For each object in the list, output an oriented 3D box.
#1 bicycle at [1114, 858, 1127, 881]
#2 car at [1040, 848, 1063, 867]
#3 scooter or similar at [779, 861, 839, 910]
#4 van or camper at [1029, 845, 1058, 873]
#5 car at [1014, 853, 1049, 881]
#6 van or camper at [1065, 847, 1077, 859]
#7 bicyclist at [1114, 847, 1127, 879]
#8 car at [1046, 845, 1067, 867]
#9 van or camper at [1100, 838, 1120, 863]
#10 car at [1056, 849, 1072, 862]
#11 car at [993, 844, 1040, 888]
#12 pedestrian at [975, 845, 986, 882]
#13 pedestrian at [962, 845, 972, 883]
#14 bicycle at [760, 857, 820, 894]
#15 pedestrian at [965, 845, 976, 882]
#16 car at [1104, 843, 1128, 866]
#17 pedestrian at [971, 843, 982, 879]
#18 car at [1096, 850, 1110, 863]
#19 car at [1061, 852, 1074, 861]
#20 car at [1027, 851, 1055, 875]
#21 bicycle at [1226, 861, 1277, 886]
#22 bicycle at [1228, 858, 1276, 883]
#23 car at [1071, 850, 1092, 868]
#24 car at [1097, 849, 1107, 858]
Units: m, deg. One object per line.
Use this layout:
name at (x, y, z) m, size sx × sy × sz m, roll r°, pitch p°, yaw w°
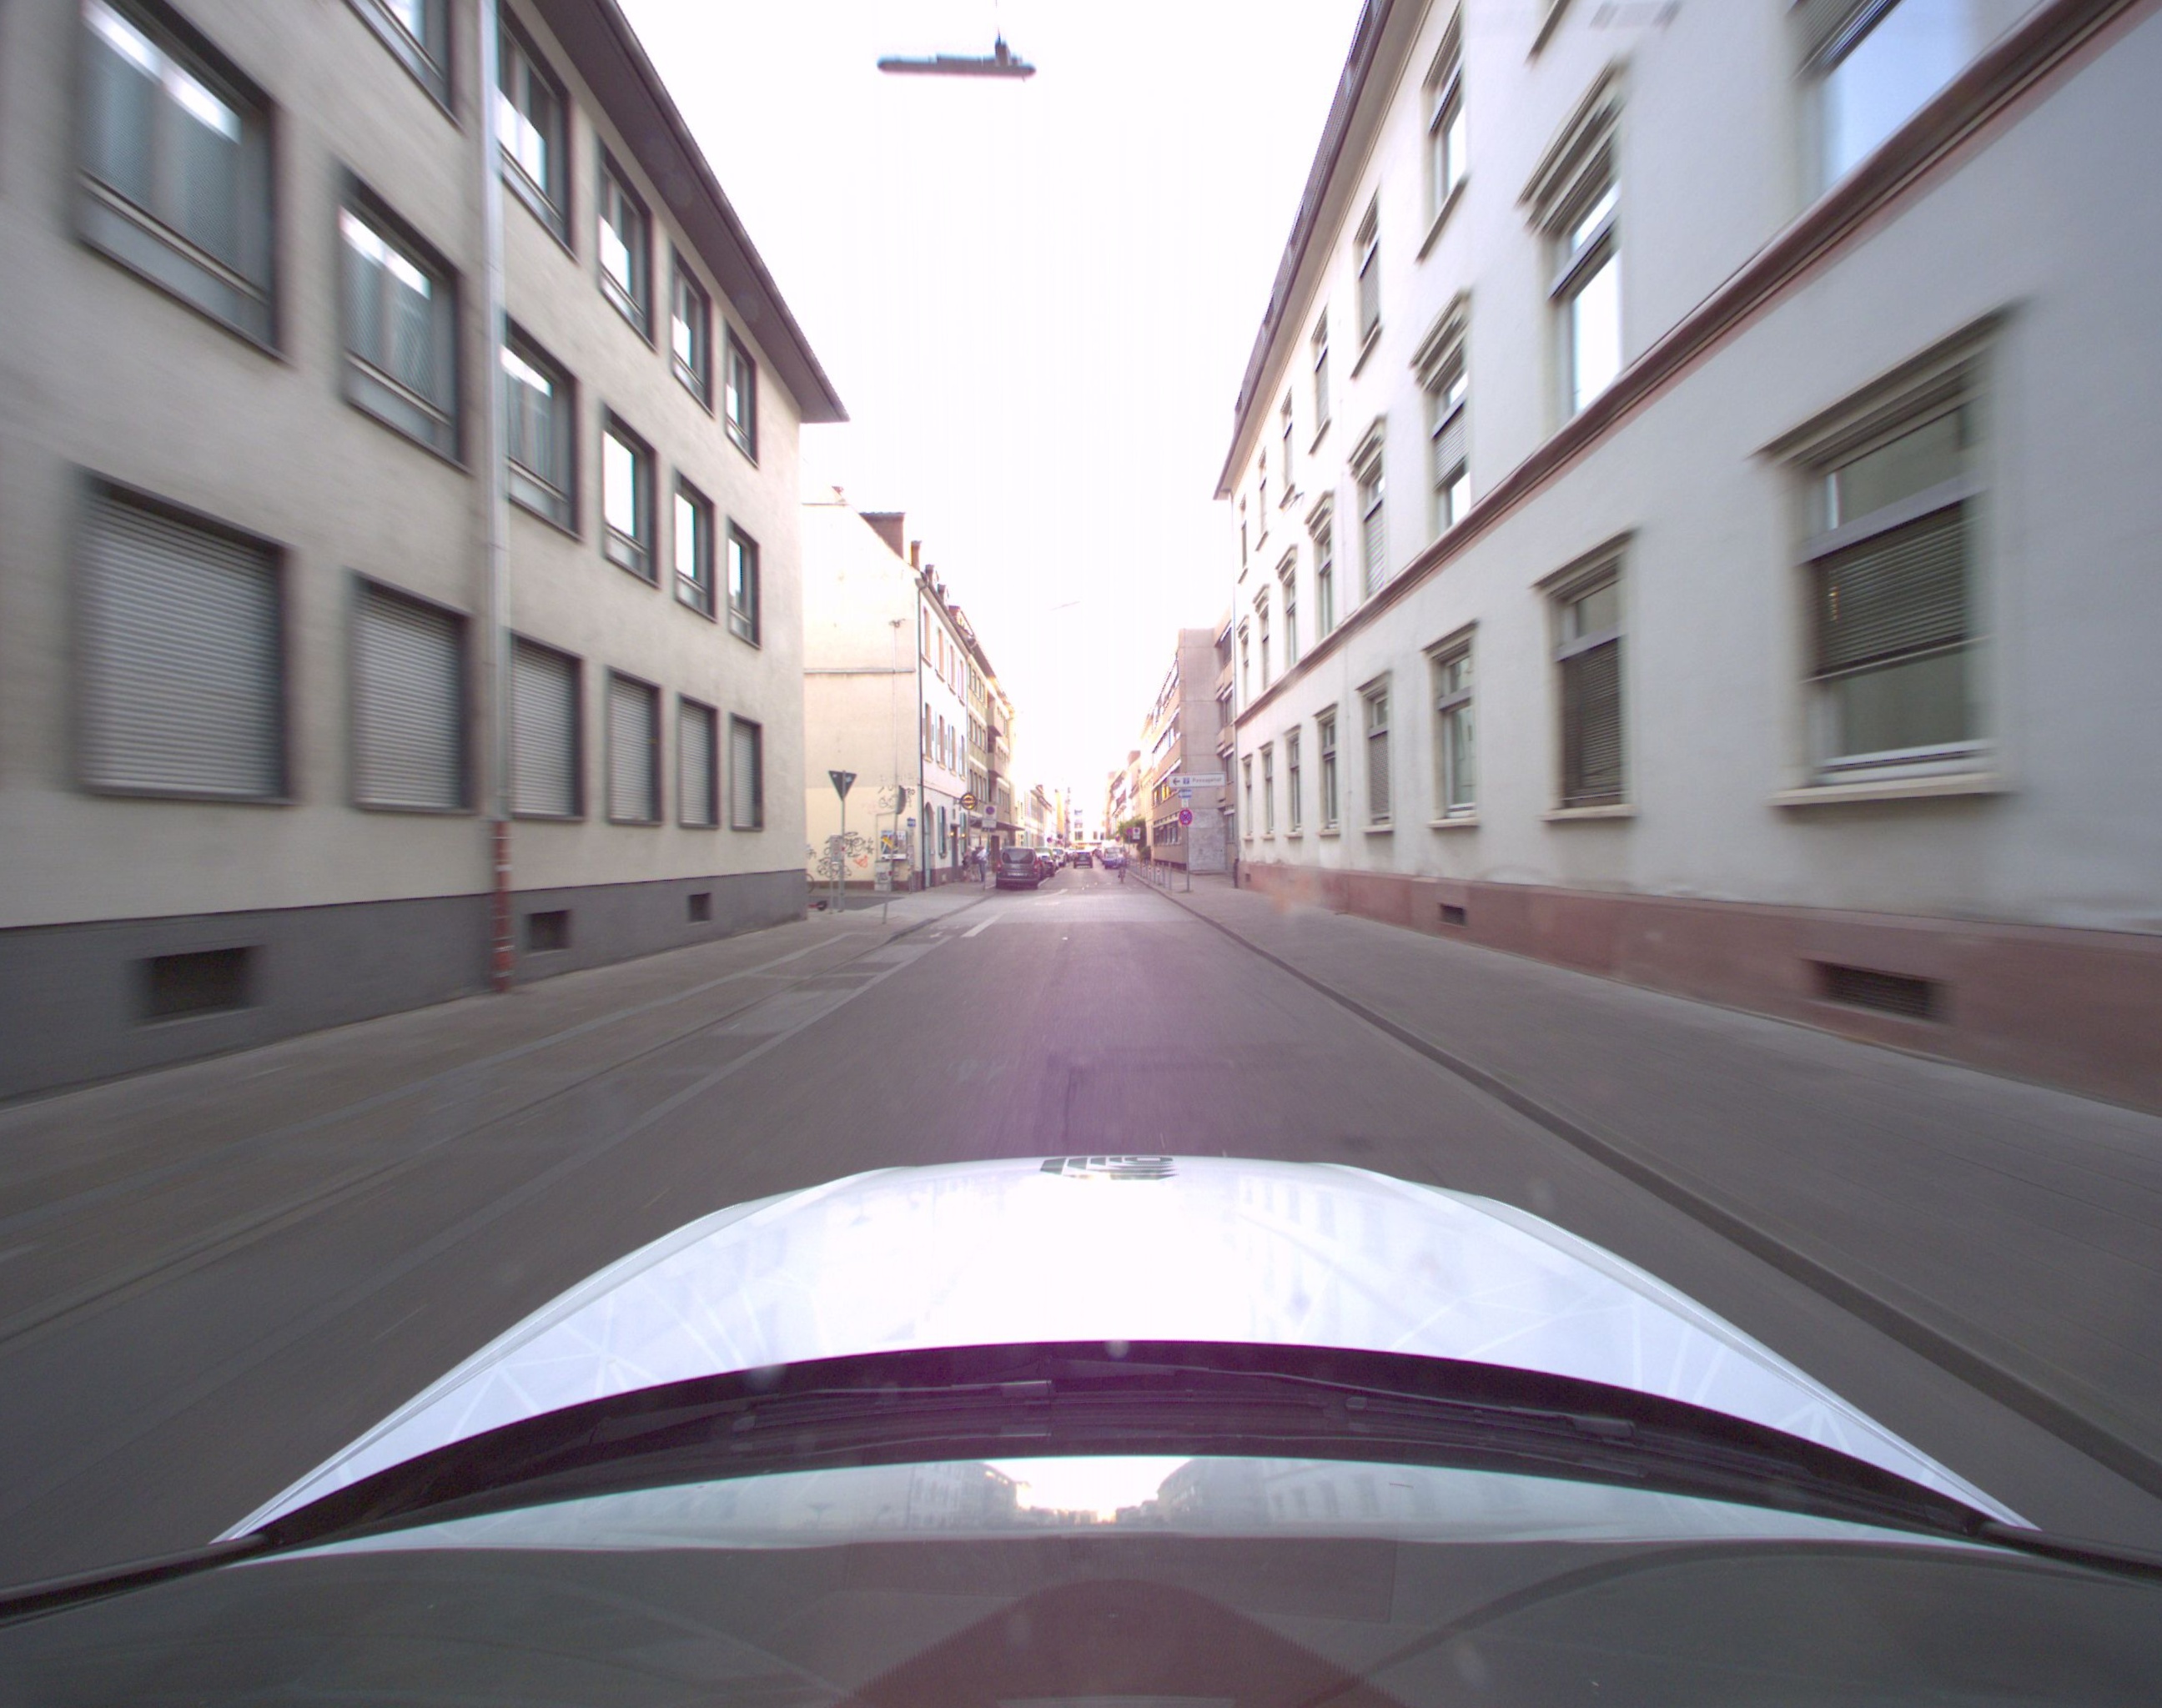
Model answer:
bicycle at (1.970, 0.766, 40.626) m, size 0.611 × 1.082 × 1.810 m, roll -1°, pitch 0°, yaw 2°
car at (-2.446, 0.302, 68.020) m, size 1.656 × 1.449 × 3.520 m, roll 2°, pitch 0°, yaw 0°
scooter or similar at (-6.910, 0.794, 20.708) m, size 1.367 × 1.201 × 0.528 m, roll 2°, pitch -1°, yaw -24°
van or camper at (-2.664, 0.331, 58.602) m, size 1.766 × 1.848 × 4.180 m, roll -1°, pitch 0°, yaw 1°
car at (-2.716, 0.685, 45.579) m, size 1.618 × 1.485 × 3.878 m, roll -1°, pitch 0°, yaw 1°
van or camper at (-1.763, -0.189, 144.912) m, size 1.838 × 2.013 × 4.679 m, roll 0°, pitch 0°, yaw 1°
bicyclist at (1.965, 0.450, 40.635) m, size 0.618 × 1.574 × 0.684 m, roll -1°, pitch 0°, yaw 1°
car at (-2.382, 0.177, 80.509) m, size 1.857 × 2.013 × 5.104 m, roll -1°, pitch 0°, yaw -1°
van or camper at (3.155, -0.419, 89.487) m, size 2.042 × 2.637 × 7.065 m, roll -1°, pitch 0°, yaw 2°
car at (-2.197, 0.187, 104.969) m, size 1.796 × 1.676 × 4.492 m, roll -1°, pitch 0°, yaw 2°
car at (-2.744, 0.480, 35.664) m, size 1.872 × 1.811 × 4.447 m, roll 0°, pitch 0°, yaw -2°
pedestrian at (-4.748, 0.448, 38.546) m, size 0.447 × 1.750 × 0.470 m, roll -1°, pitch 0°, yaw 2°
pedestrian at (-5.348, 0.455, 38.260) m, size 0.404 × 1.750 × 0.470 m, roll -1°, pitch 0°, yaw 2°
bicycle at (-9.973, 0.733, 27.899) m, size 1.912 × 1.217 × 0.630 m, roll -1°, pitch 0°, yaw 15°
pedestrian at (-5.250, 0.453, 38.787) m, size 0.404 × 1.750 × 0.470 m, roll -1°, pitch 0°, yaw 2°
car at (2.963, 0.032, 69.467) m, size 1.929 × 1.897 × 5.278 m, roll -1°, pitch 0°, yaw 1°
pedestrian at (-5.061, 0.342, 39.404) m, size 0.404 × 1.750 × 0.470 m, roll -1°, pitch 0°, yaw 2°
car at (2.982, 0.343, 109.151) m, size 1.812 × 1.530 × 5.073 m, roll -4°, pitch 0°, yaw 2°
car at (-2.010, 0.358, 122.713) m, size 1.912 × 1.434 × 4.291 m, roll 0°, pitch 0°, yaw -1°
car at (-2.432, 0.546, 50.550) m, size 1.619 × 1.416 × 3.979 m, roll 0°, pitch 0°, yaw -1°
bicycle at (6.383, 0.720, 30.549) m, size 1.794 × 0.923 × 0.537 m, roll -1°, pitch 0°, yaw -8°
bicycle at (6.573, 0.627, 31.365) m, size 1.737 × 0.923 × 0.537 m, roll -1°, pitch 0°, yaw -7°
car at (0.068, 0.414, 73.816) m, size 1.813 × 1.618 × 4.000 m, roll 0°, pitch 0°, yaw 0°
car at (3.567, -0.122, 139.600) m, size 1.647 × 1.561 × 3.606 m, roll 0°, pitch 0°, yaw 1°
